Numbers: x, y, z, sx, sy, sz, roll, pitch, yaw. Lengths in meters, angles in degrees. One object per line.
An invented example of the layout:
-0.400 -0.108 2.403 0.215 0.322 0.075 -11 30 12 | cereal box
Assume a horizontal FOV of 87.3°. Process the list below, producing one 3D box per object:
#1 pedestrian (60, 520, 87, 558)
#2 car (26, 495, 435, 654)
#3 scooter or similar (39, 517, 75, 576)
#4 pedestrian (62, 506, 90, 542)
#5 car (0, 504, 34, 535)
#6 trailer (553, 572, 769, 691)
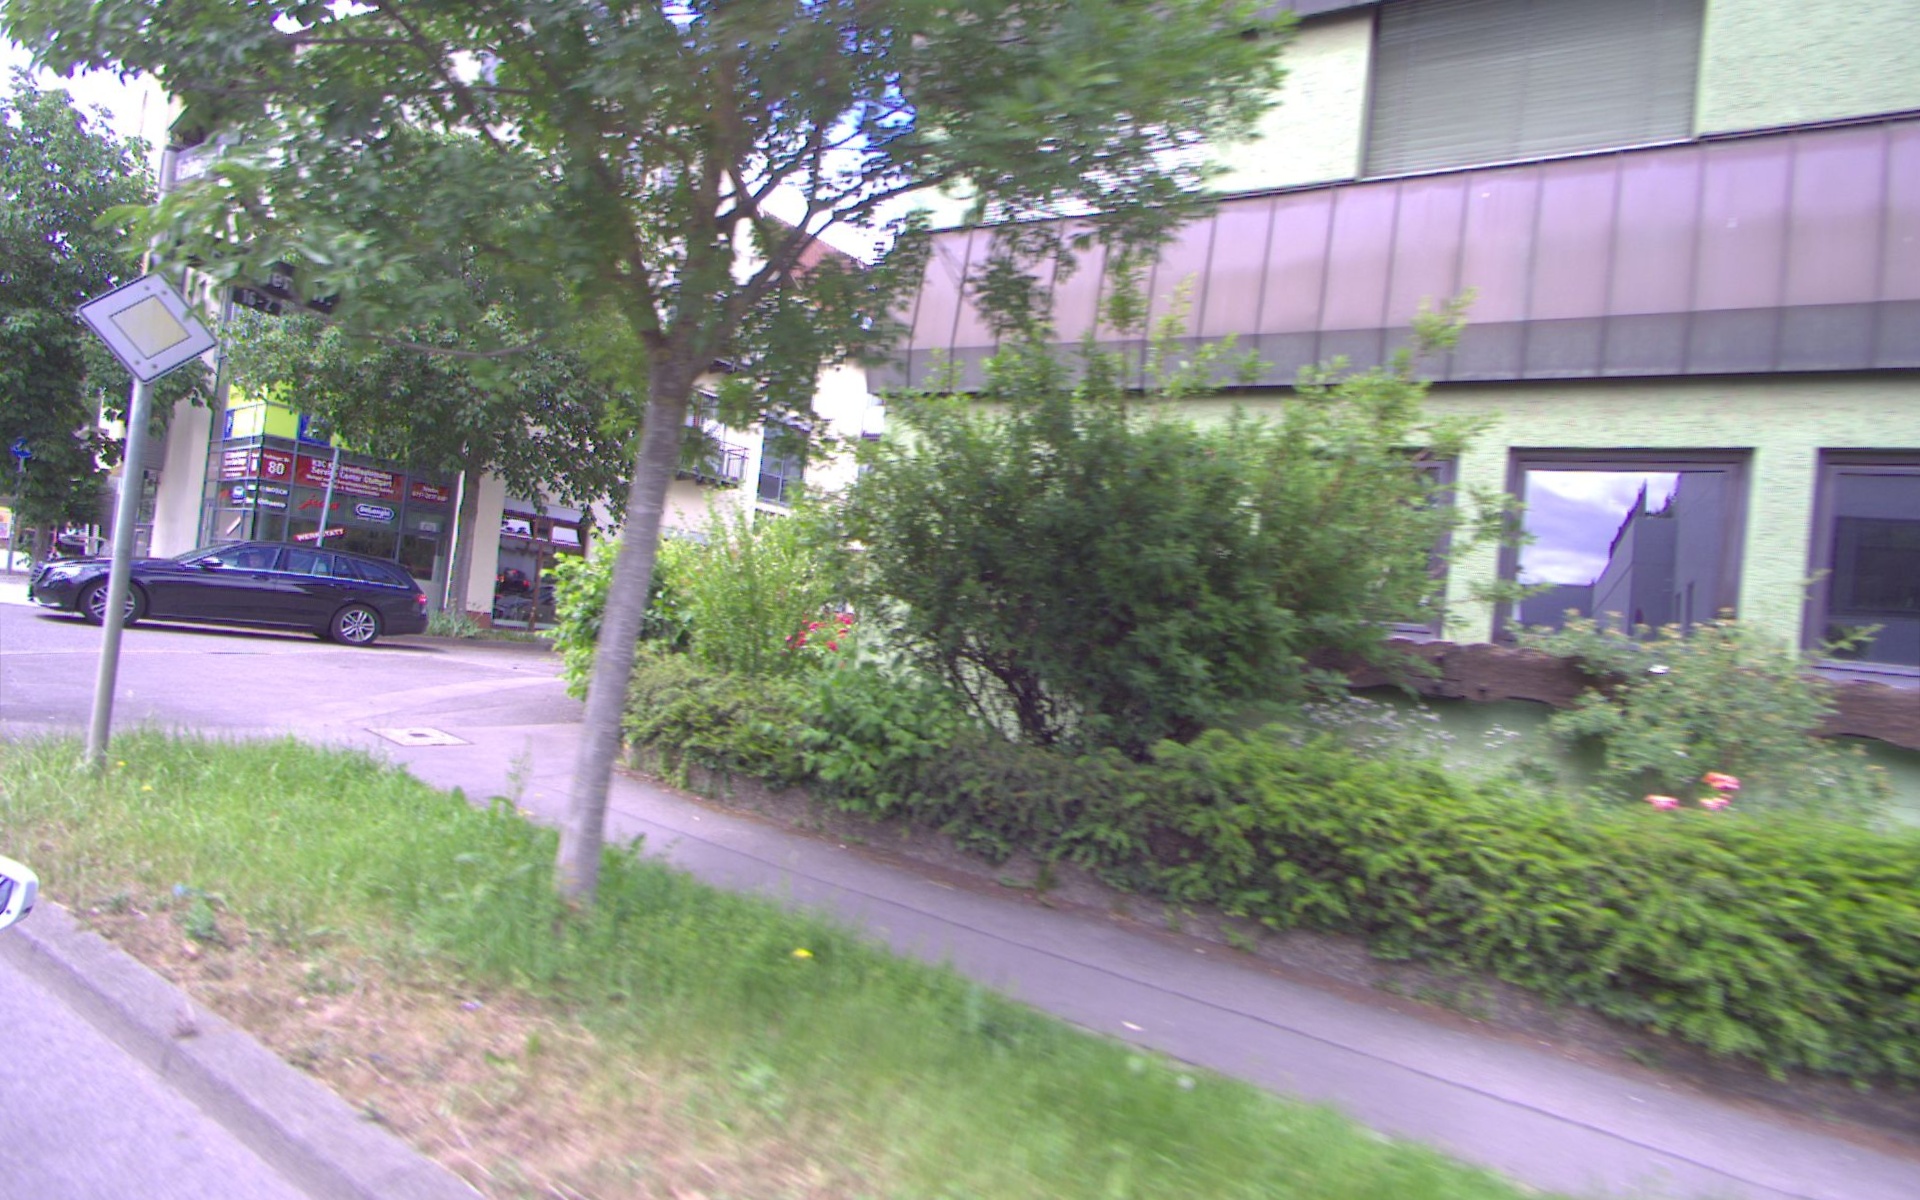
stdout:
-30.602 -2.110 34.722 0.575 1.217 0.497 9 -3 -44 | pedestrian
-10.826 -0.290 15.217 1.787 1.646 4.664 5 -3 44 | car
-21.568 -1.287 24.031 1.440 1.331 0.380 5 -3 43 | scooter or similar
-31.092 -2.677 35.375 0.494 1.195 0.522 6 -2 35 | pedestrian
-60.571 -5.253 62.648 1.779 1.632 4.332 9 -4 -5 | car
-5.059 0.582 17.273 1.374 1.600 3.155 7 -2 42 | trailer
